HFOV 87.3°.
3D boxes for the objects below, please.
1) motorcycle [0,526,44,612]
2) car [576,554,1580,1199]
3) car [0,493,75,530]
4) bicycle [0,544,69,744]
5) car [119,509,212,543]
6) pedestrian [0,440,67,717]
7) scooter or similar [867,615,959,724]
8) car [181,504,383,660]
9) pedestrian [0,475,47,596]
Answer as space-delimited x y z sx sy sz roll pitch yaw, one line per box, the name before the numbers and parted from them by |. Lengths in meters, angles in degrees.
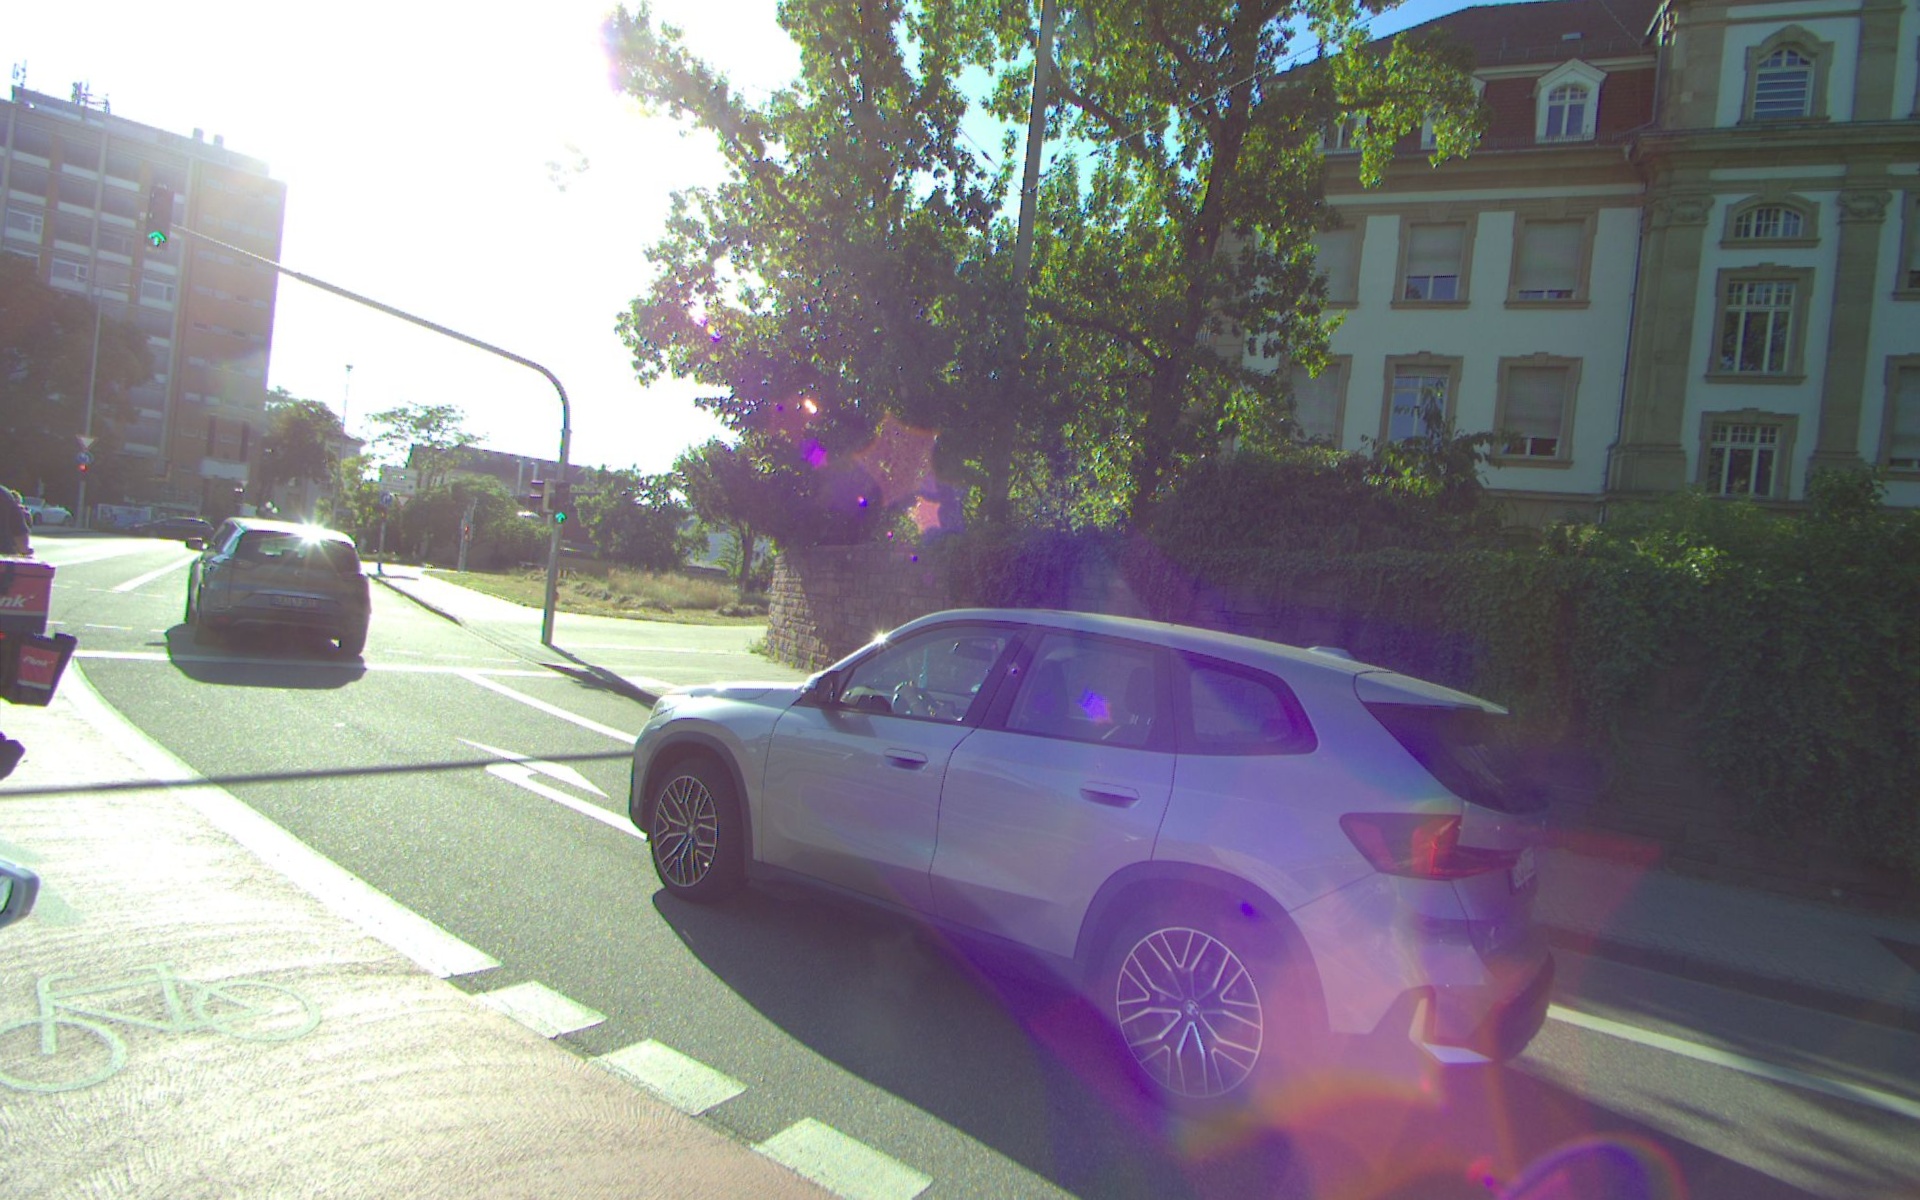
motorcycle | -13.589 -0.482 14.333 0.611 1.110 2.334 8 -2 -41
car | 0.280 0.829 4.755 4.263 1.612 1.788 6 -2 37
car | -47.834 -4.536 51.733 1.776 1.549 3.988 5 0 -14
bicycle | -6.804 0.206 6.900 2.338 1.185 0.554 6 -2 39
car | -48.116 -4.455 60.996 1.773 1.549 3.995 6 0 25
pedestrian | -7.036 -0.192 7.094 0.942 1.890 0.806 6 -2 40
scooter or similar | -0.654 0.903 13.455 0.569 1.285 1.414 6 0 -27
car | -9.705 -0.288 14.237 1.824 1.708 4.322 9 -2 -39
pedestrian | -13.545 -0.921 14.355 0.585 1.617 1.013 8 -2 -41
